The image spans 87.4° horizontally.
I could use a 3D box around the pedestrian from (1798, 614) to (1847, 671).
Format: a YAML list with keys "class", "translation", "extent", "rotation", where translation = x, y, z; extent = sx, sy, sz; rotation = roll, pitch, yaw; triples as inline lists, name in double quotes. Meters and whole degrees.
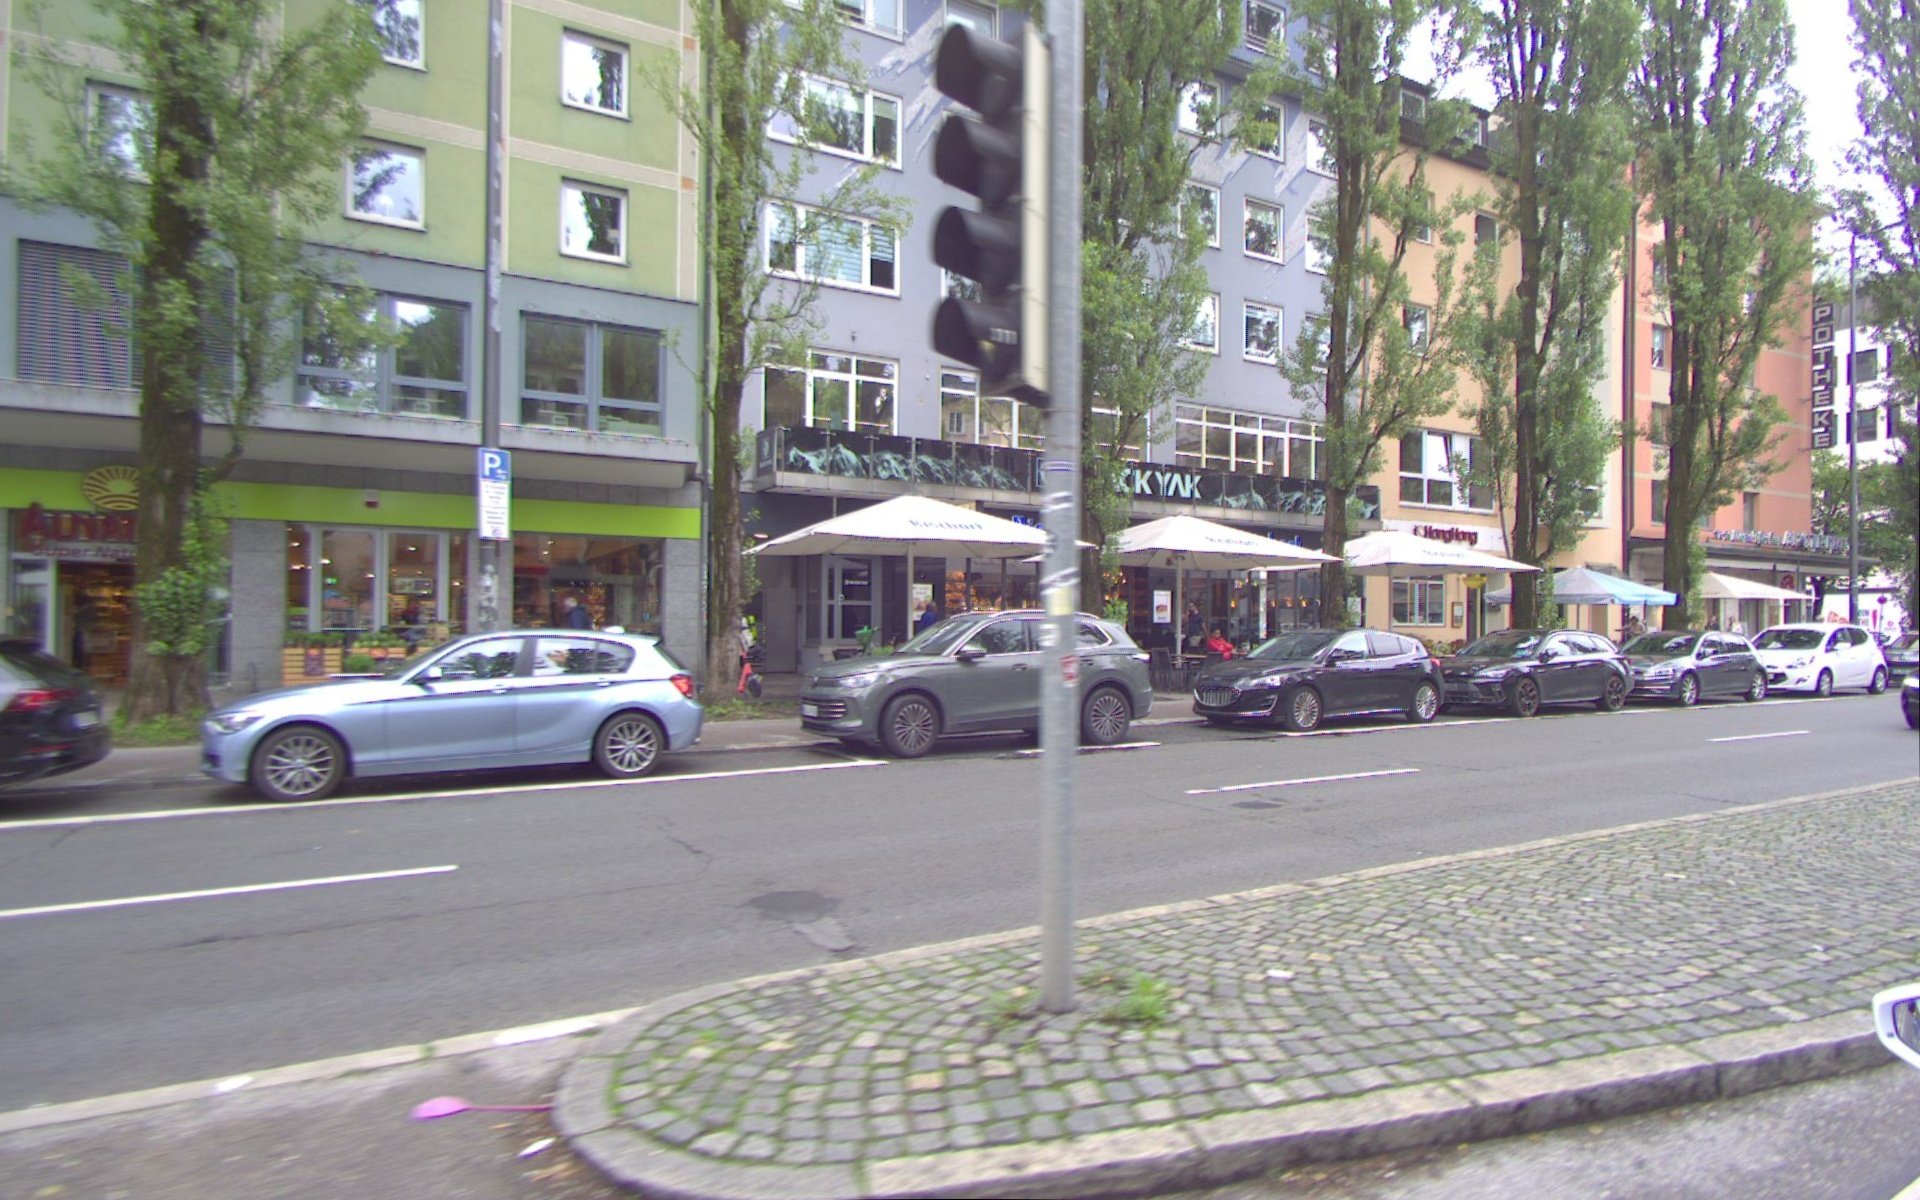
- class: "pedestrian"
  translation: [28.184, 1.379, 32.847]
  extent: [0.975, 1.820, 0.736]
  rotation: [1, 0, -10]

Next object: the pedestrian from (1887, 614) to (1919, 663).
- class: "pedestrian"
  translation: [35.064, 1.402, 37.292]
  extent: [0.768, 1.794, 0.722]
  rotation: [1, -1, -27]

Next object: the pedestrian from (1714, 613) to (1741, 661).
- class: "pedestrian"
  translation: [28.032, 1.349, 36.674]
  extent: [0.684, 1.740, 0.552]
  rotation: [1, -1, -29]

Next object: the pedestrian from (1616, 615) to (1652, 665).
- class: "pedestrian"
  translation: [23.364, 1.382, 34.820]
  extent: [0.792, 1.690, 0.777]
  rotation: [1, -1, -29]

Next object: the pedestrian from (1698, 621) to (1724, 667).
- class: "pedestrian"
  translation: [27.768, 1.625, 37.150]
  extent: [0.684, 1.660, 0.552]
  rotation: [1, -1, -29]

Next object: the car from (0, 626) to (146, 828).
- class: "car"
  translation: [-8.983, 0.916, 7.255]
  extent: [4.529, 1.465, 1.696]
  rotation: [1, -2, -29]

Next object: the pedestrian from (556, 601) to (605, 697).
- class: "pedestrian"
  translation: [-6.888, 0.876, 18.231]
  extent: [0.746, 1.695, 0.706]
  rotation: [1, -1, -28]

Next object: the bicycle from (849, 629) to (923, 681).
- class: "bicycle"
  translation: [-1.620, 1.195, 22.185]
  extent: [1.568, 1.111, 0.611]
  rotation: [1, -1, -40]

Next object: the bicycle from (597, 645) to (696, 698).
- class: "bicycle"
  translation: [-6.222, 1.398, 19.951]
  extent: [1.826, 0.984, 0.477]
  rotation: [1, -1, -28]

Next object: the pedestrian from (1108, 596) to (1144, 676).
- class: "pedestrian"
  translation: [4.757, 1.016, 28.797]
  extent: [0.722, 2.241, 0.777]
  rotation: [1, -1, -29]

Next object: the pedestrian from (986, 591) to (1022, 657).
- class: "pedestrian"
  translation: [1.234, 0.677, 28.341]
  extent: [0.733, 1.828, 0.778]
  rotation: [0, -1, -26]

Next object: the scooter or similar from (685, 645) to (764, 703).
- class: "scooter or similar"
  translation: [-4.021, 1.259, 17.184]
  extent: [1.220, 0.953, 0.441]
  rotation: [1, -1, -3]

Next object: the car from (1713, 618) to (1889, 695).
- class: "car"
  translation: [19.102, 1.259, 22.796]
  extent: [4.046, 1.604, 1.696]
  rotation: [1, -2, -29]

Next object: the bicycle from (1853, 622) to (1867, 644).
- class: "bicycle"
  translation: [49.218, 1.790, 54.917]
  extent: [2.049, 1.200, 0.445]
  rotation: [1, -1, -45]

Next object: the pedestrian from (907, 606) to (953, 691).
- class: "pedestrian"
  translation: [-0.638, 1.029, 21.561]
  extent: [0.746, 1.778, 0.738]
  rotation: [1, -1, -28]

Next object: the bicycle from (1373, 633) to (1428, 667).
- class: "bicycle"
  translation: [13.576, 1.525, 30.949]
  extent: [1.931, 1.015, 0.441]
  rotation: [1, -1, -27]

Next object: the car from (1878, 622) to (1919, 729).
- class: "car"
  translation: [15.319, 1.069, 14.585]
  extent: [4.001, 1.484, 1.749]
  rotation: [1, -3, -29]

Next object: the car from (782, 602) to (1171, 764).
- class: "car"
  translation: [0.253, 0.945, 12.402]
  extent: [4.527, 1.702, 1.774]
  rotation: [1, -2, -27]

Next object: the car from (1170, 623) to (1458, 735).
- class: "car"
  translation: [5.397, 1.128, 15.188]
  extent: [4.316, 1.485, 1.670]
  rotation: [1, -3, -29]

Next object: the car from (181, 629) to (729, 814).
- class: "car"
  translation: [-4.596, 1.023, 9.670]
  extent: [4.349, 1.436, 1.650]
  rotation: [1, -3, -30]

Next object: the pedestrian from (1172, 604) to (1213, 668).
- class: "pedestrian"
  translation: [6.062, 0.931, 26.234]
  extent: [0.746, 1.662, 0.738]
  rotation: [0, -1, -26]

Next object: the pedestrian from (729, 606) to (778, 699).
- class: "pedestrian"
  translation: [-4.051, 1.009, 19.660]
  extent: [0.746, 1.778, 0.815]
  rotation: [1, -1, -28]

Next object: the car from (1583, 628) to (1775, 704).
- class: "car"
  translation: [14.482, 1.292, 20.192]
  extent: [4.135, 1.399, 1.488]
  rotation: [1, -2, -29]

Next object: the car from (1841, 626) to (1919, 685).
- class: "car"
  translation: [25.429, 1.450, 26.609]
  extent: [4.534, 1.457, 1.696]
  rotation: [1, -3, -29]

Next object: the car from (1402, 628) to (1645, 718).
- class: "car"
  translation: [9.995, 1.235, 17.758]
  extent: [4.379, 1.431, 1.696]
  rotation: [1, -3, -29]
